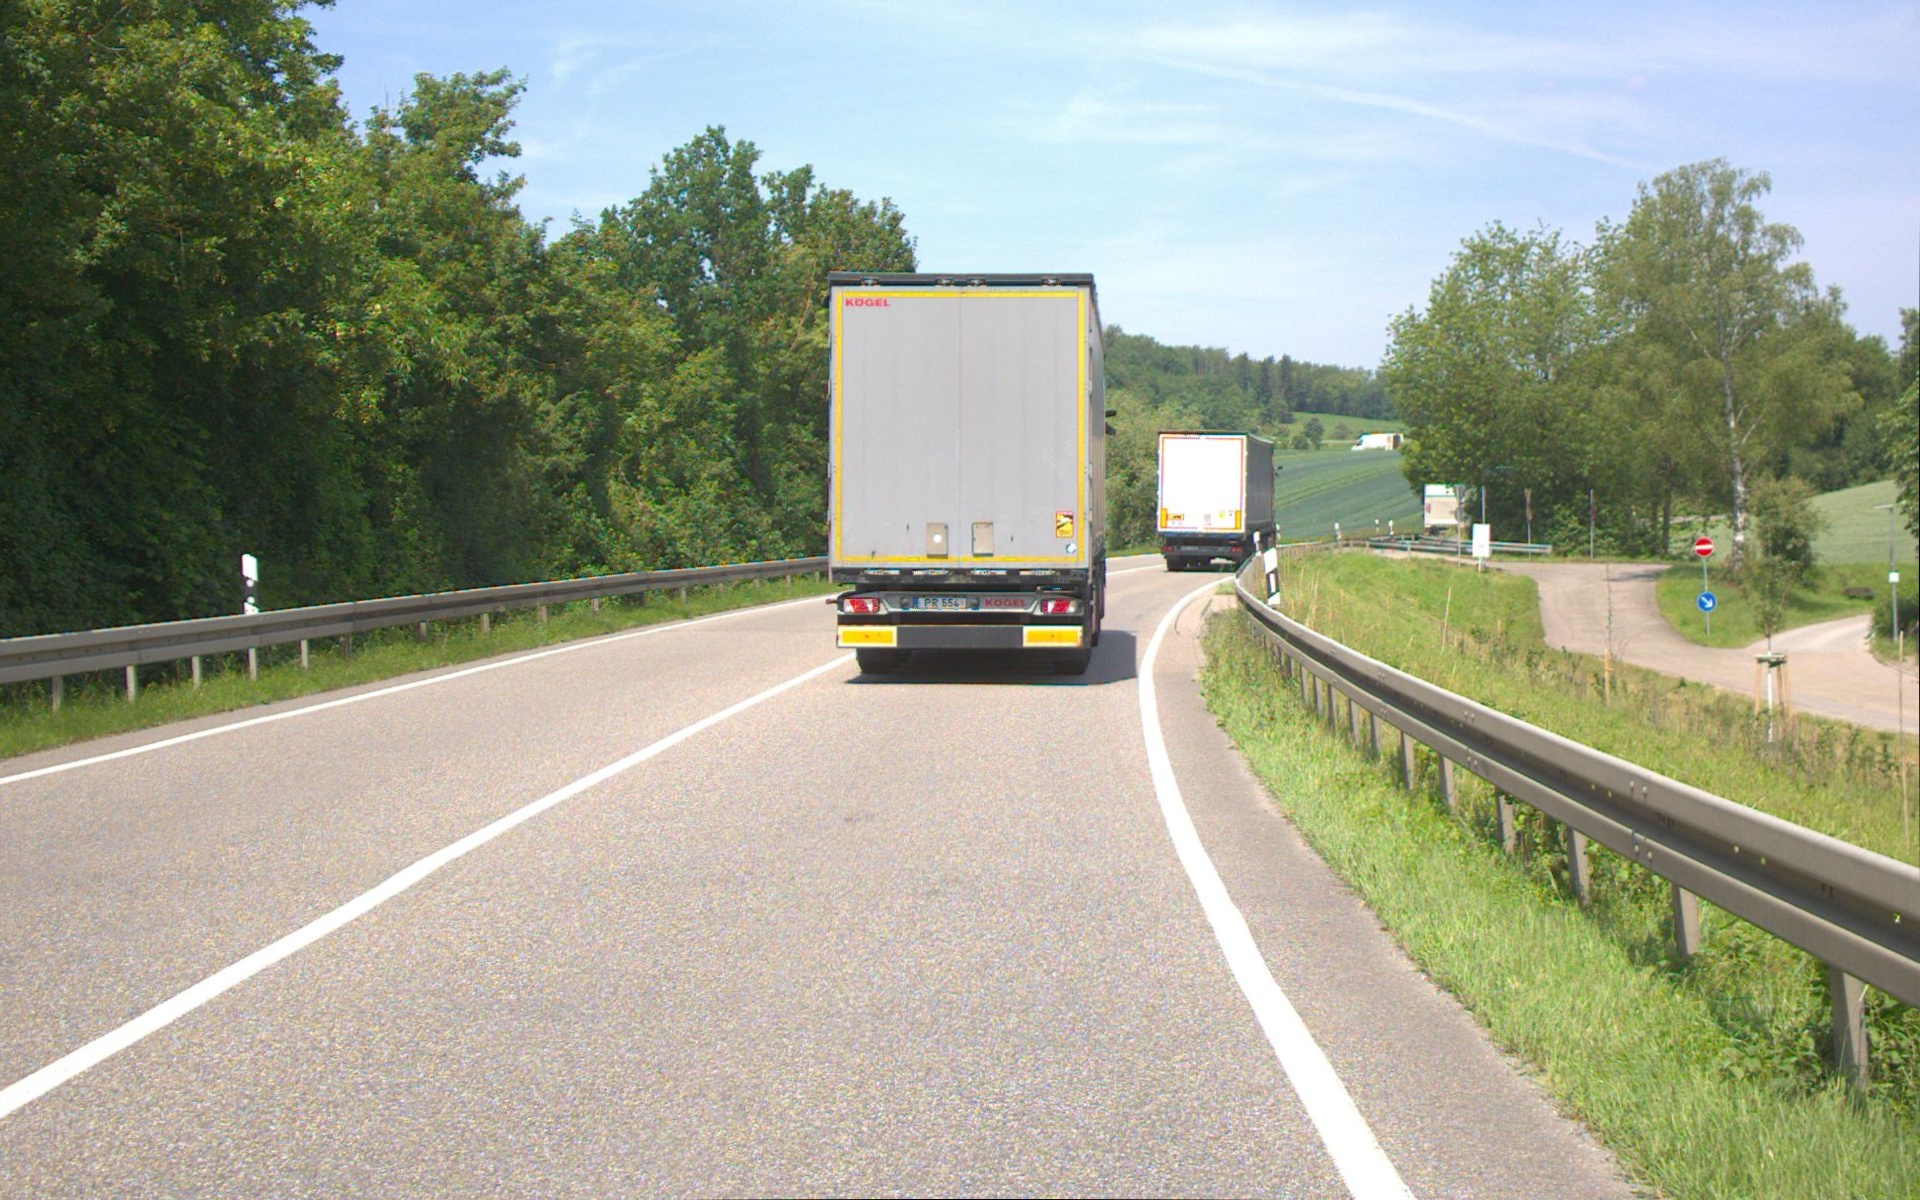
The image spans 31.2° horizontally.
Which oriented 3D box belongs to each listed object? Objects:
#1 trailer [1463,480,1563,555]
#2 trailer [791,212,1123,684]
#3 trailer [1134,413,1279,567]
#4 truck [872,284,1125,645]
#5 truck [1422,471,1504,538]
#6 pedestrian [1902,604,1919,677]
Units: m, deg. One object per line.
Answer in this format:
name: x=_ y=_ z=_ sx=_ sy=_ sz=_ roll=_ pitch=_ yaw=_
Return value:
trailer: x=33.363 y=-4.880 z=206.814 sx=3.652 sy=4.248 sz=12.182 roll=0 pitch=0 yaw=20
trailer: x=0.295 y=-1.601 z=39.699 sx=3.118 sy=4.484 sz=13.885 roll=0 pitch=1 yaw=3
trailer: x=7.644 y=-3.198 z=104.650 sx=3.366 sy=4.302 sz=13.859 roll=0 pitch=0 yaw=8
truck: x=0.635 y=-1.766 z=46.308 sx=3.118 sy=4.479 sz=6.811 roll=0 pitch=1 yaw=3
truck: x=27.449 y=-5.135 z=187.169 sx=3.225 sy=3.354 sz=11.867 roll=0 pitch=0 yaw=14
pedestrian: x=24.476 y=1.016 z=87.057 sx=0.885 sy=1.804 sz=0.959 roll=-3 pitch=1 yaw=-1
